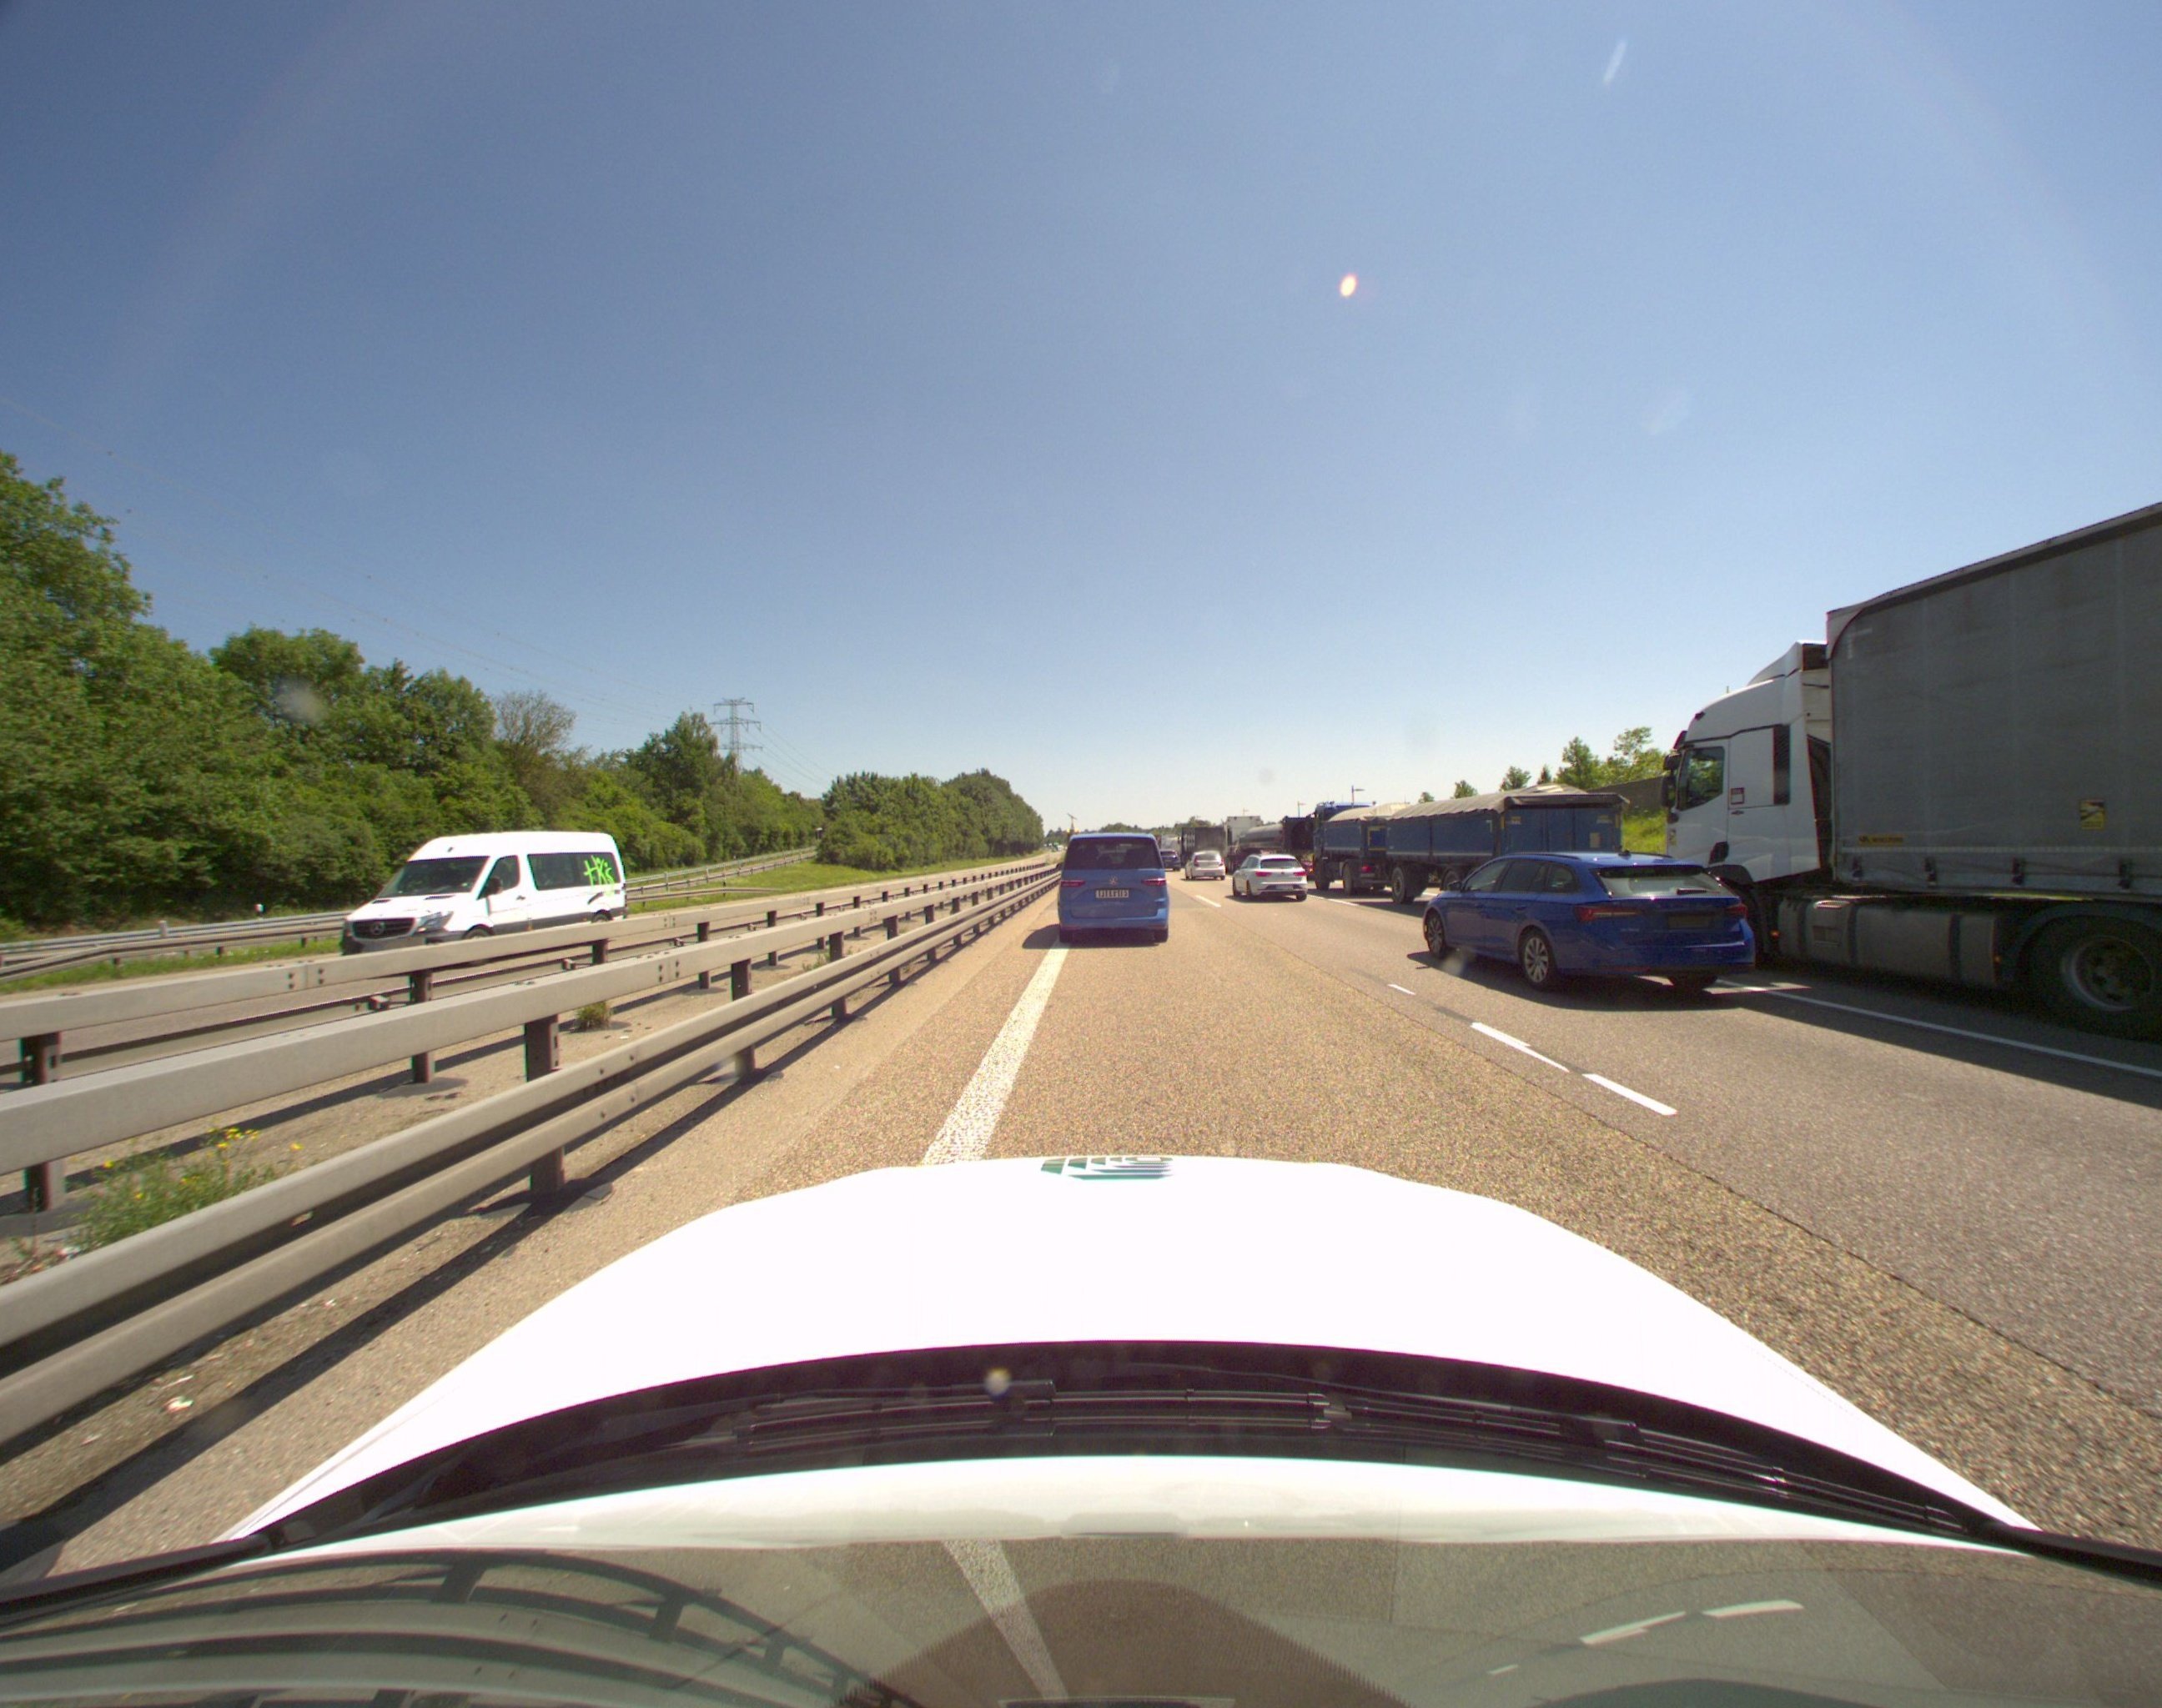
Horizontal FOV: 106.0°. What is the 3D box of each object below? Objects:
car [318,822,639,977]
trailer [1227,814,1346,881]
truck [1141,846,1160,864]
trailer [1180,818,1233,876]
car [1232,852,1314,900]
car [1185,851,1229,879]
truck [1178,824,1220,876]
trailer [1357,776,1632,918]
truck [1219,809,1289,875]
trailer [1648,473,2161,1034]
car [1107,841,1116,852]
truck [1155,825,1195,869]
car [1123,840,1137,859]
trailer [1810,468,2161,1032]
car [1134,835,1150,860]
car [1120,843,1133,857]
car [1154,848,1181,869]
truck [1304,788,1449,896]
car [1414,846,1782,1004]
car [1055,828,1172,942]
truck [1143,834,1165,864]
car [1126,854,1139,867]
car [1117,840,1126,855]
[{"bbox_3d":[-12.032,0.824,17.035,2.148,2.594,5.891,-2,-1,1],"label":"car"},{"bbox_3d":[10.893,-0.226,45.456,3.630,3.079,15.787,0,-1,4],"label":"trailer"},{"bbox_3d":[7.080,0.110,83.407,1.719,1.857,4.001,0,-1,2],"label":"truck"},{"bbox_3d":[11.766,-0.541,77.917,3.631,5.136,13.084,0,-1,3],"label":"trailer"},{"bbox_3d":[5.928,0.639,25.603,1.860,1.361,4.003,0,0,3],"label":"car"},{"bbox_3d":[6.676,0.585,43.447,1.833,1.454,4.001,0,-1,2],"label":"car"},{"bbox_3d":[12.132,-0.343,84.329,3.644,5.180,5.711,0,-1,2],"label":"truck"},{"bbox_3d":[9.817,-0.155,20.862,2.733,2.836,9.120,0,0,2],"label":"trailer"},{"bbox_3d":[11.500,-0.693,54.915,3.609,4.094,7.532,0,-1,4],"label":"truck"},{"bbox_3d":[9.334,-0.742,8.235,2.913,4.044,6.414,0,0,2],"label":"trailer"},{"bbox_3d":[9.443,-2.165,251.489,2.476,3.204,7.374,0,-1,2],"label":"car"},{"bbox_3d":[11.873,-0.725,104.437,3.608,5.213,15.693,0,-1,1],"label":"truck"},{"bbox_3d":[13.866,-1.136,231.310,3.209,5.257,8.138,0,-1,-1],"label":"car"},{"bbox_3d":[9.092,-0.734,1.872,2.951,4.049,13.759,0,0,2],"label":"trailer"},{"bbox_3d":[13.426,-1.324,179.431,3.206,5.257,8.147,0,-1,2],"label":"car"},{"bbox_3d":[8.980,-0.735,161.482,2.541,2.717,5.623,0,-1,2],"label":"car"},{"bbox_3d":[6.612,0.370,62.600,1.774,1.524,4.001,0,-1,2],"label":"car"},{"bbox_3d":[10.051,-0.374,28.570,2.733,3.311,7.136,0,0,2],"label":"truck"},{"bbox_3d":[5.635,0.678,9.674,1.699,1.441,4.430,0,-1,2],"label":"car"},{"bbox_3d":[0.641,0.530,15.229,1.893,1.838,4.003,0,-1,3],"label":"car"},{"bbox_3d":[12.519,-0.711,140.233,3.057,4.920,10.693,0,-1,2],"label":"truck"},{"bbox_3d":[8.517,1.118,134.800,1.986,2.014,4.001,0,-1,2],"label":"car"},{"bbox_3d":[13.069,-1.947,261.924,2.706,4.713,11.564,0,-1,2],"label":"car"}]
